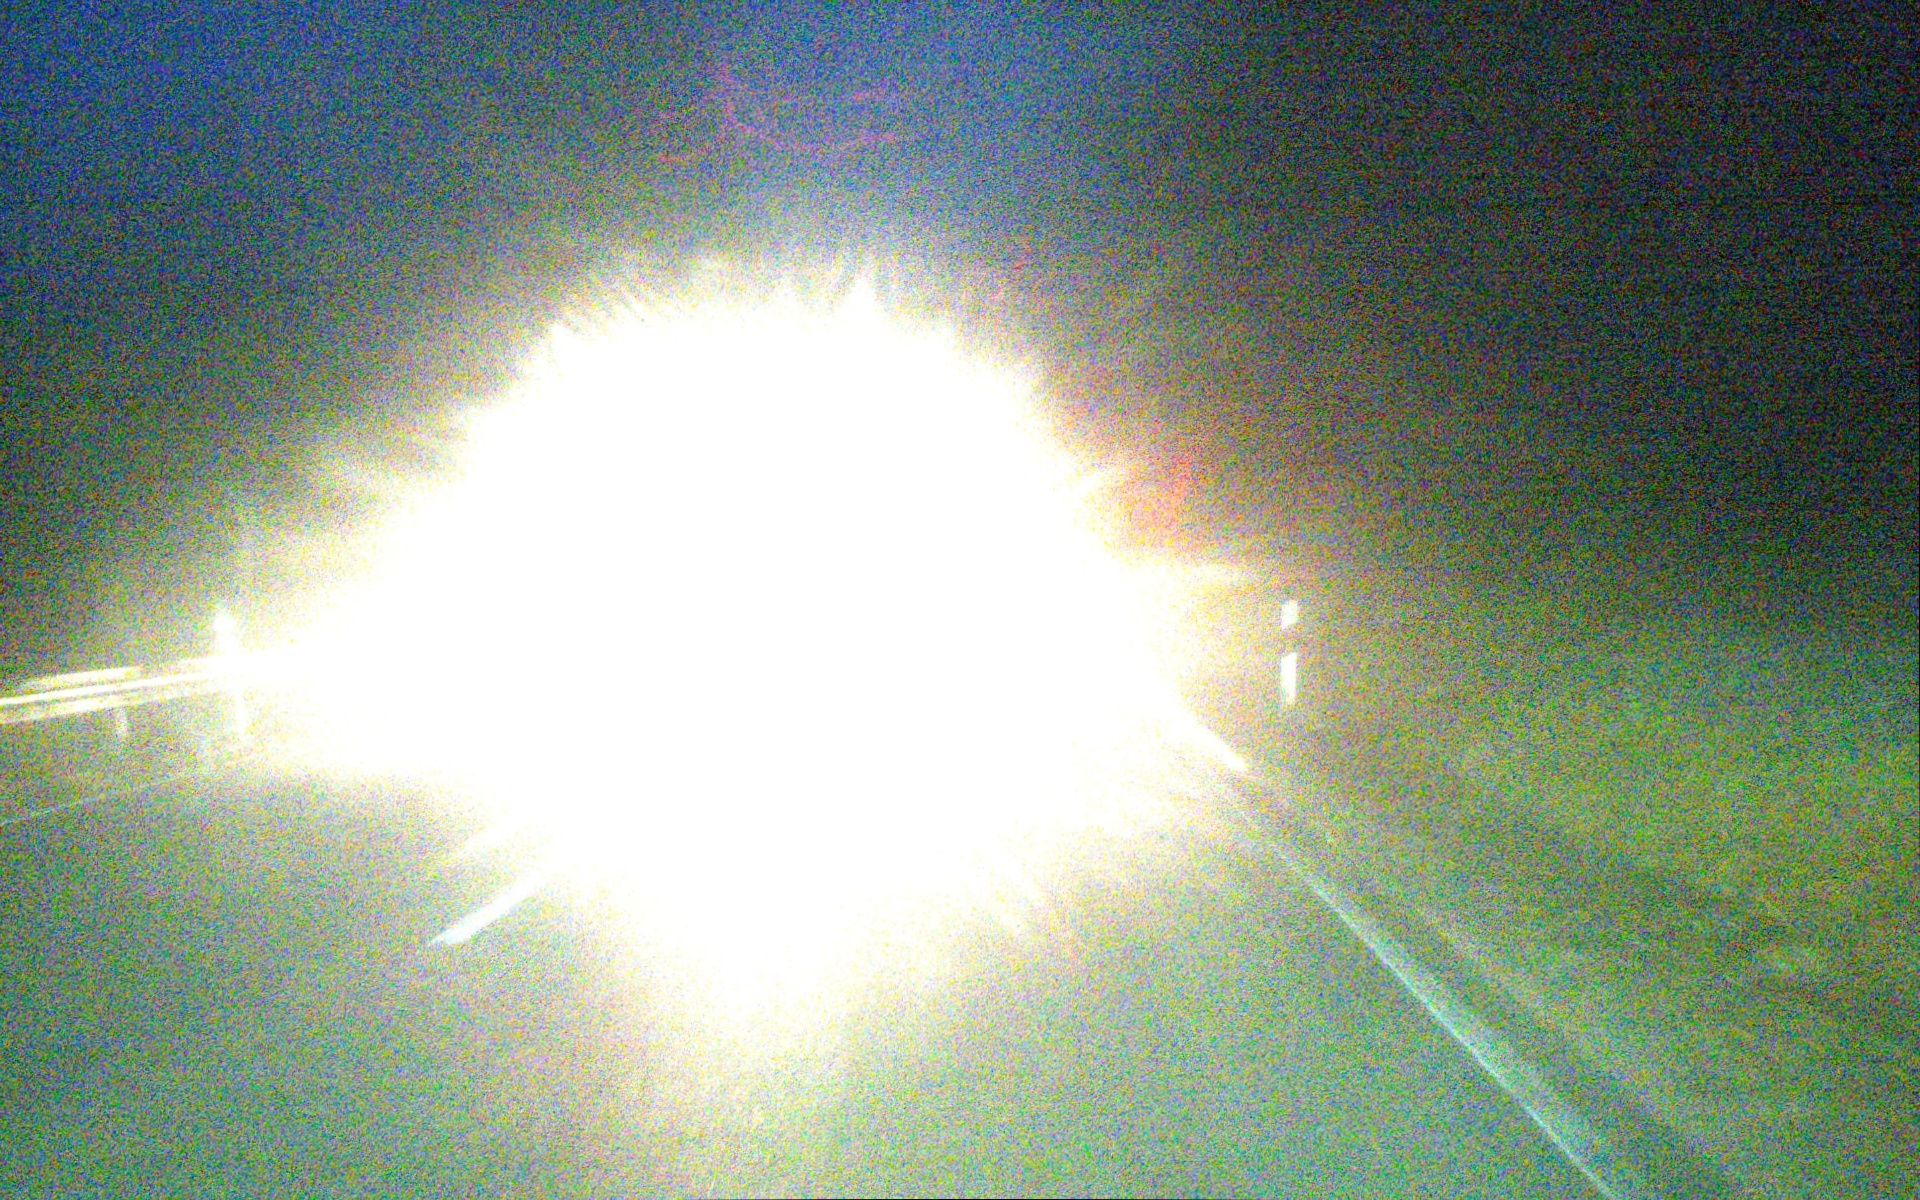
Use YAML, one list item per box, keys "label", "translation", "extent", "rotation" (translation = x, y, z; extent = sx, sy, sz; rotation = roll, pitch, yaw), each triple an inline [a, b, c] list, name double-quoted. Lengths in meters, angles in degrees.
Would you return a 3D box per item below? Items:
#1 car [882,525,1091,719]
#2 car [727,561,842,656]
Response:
- label: "car"
  translation: [0.231, 0.184, 36.891]
  extent: [1.993, 1.800, 3.918]
  rotation: [-2, 3, -2]
- label: "car"
  translation: [-3.428, 0.135, 67.739]
  extent: [1.800, 1.574, 4.457]
  rotation: [-6, 1, 1]
